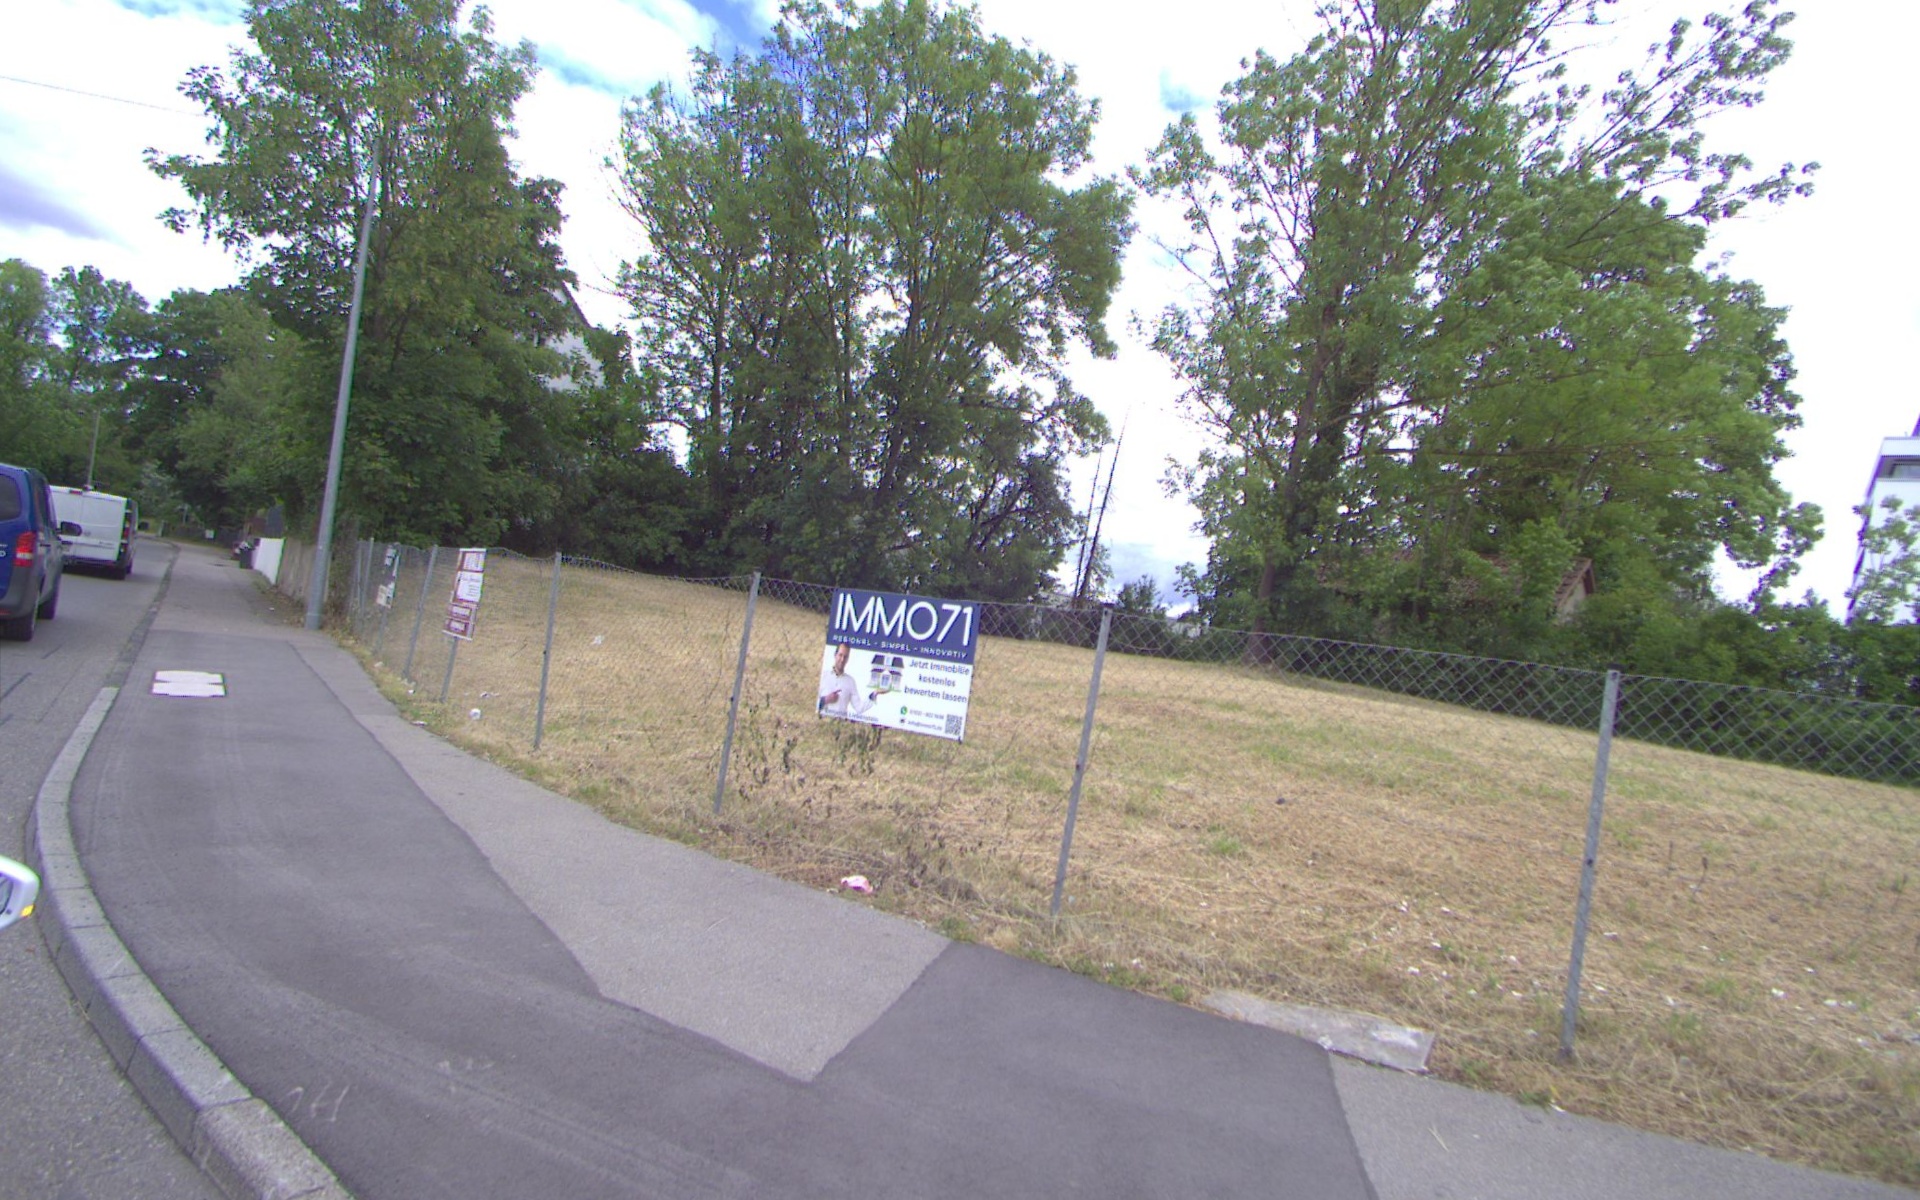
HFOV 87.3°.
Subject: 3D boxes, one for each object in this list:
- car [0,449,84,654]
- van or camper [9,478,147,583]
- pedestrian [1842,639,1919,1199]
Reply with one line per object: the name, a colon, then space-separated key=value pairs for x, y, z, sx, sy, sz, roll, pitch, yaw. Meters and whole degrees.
car: x=-11.387 y=-0.736 z=11.329 sx=1.941 sy=1.988 sz=4.491 roll=9 pitch=-2 yaw=-39
van or camper: x=-21.513 y=-1.667 z=24.743 sx=1.985 sy=2.036 sz=5.044 roll=10 pitch=-3 yaw=-37
pedestrian: x=1.902 y=0.912 z=1.631 sx=0.604 sy=1.618 sz=0.600 roll=4 pitch=2 yaw=-39
